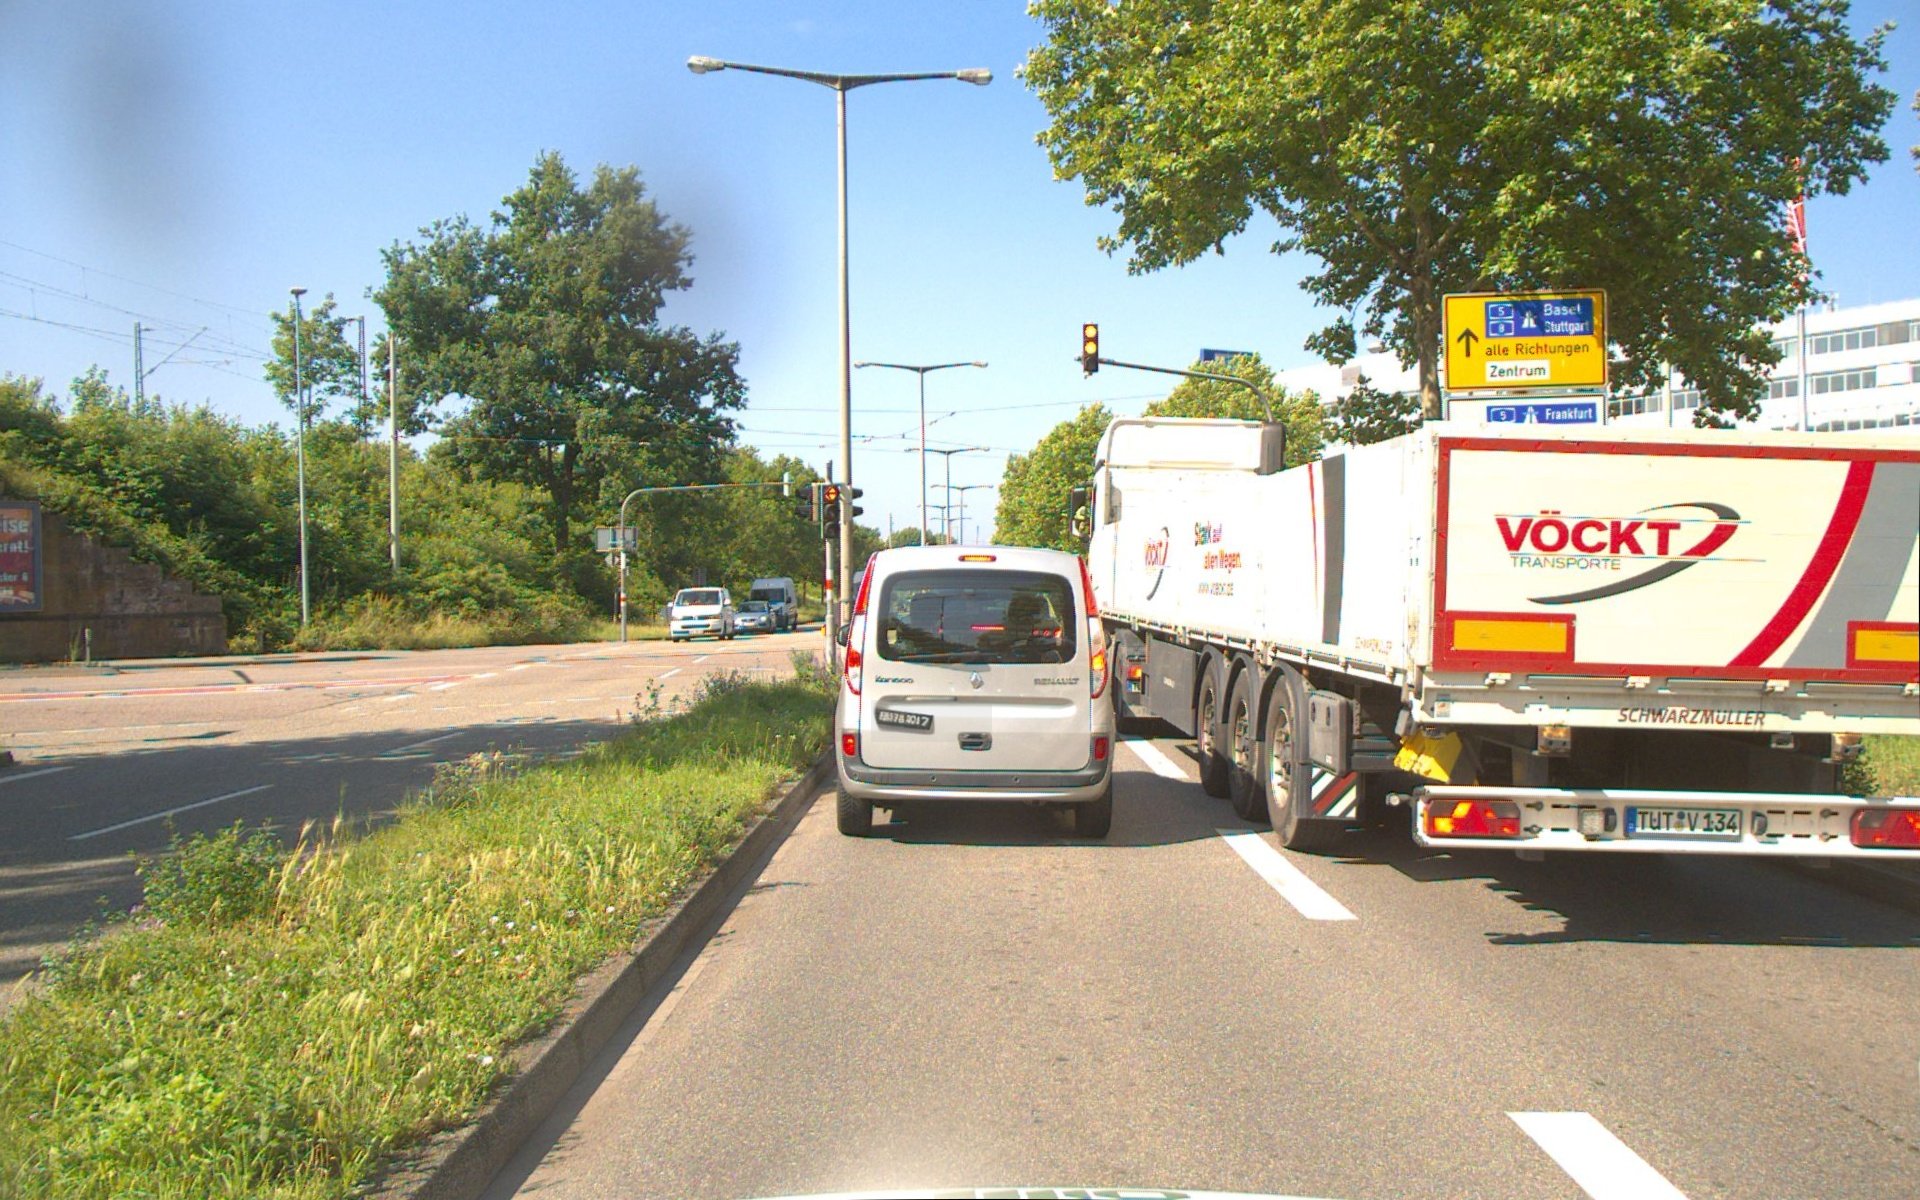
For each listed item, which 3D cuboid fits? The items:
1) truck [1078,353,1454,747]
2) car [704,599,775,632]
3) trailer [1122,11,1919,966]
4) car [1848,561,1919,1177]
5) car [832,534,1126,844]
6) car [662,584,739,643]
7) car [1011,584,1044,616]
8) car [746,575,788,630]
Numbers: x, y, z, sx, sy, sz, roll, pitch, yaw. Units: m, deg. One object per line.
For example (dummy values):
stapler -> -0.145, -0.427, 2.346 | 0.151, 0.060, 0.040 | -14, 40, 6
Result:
truck -> 3.254, -0.484, 19.862 | 3.009, 3.823, 7.474 | 0, 0, -1
car -> -9.858, 0.662, 73.793 | 1.888, 1.433, 4.190 | 0, 0, -27
trailer -> 3.317, -0.438, 12.730 | 2.954, 3.806, 12.239 | 0, 0, 0
car -> 3.062, 0.640, 2.487 | 1.627, 1.461, 3.520 | 0, 0, 1
car -> 0.095, 0.522, 11.636 | 1.713, 1.803, 3.949 | 0, 0, -1
car -> -9.257, 0.469, 59.351 | 1.953, 1.924, 4.986 | -3, 0, -1
car -> 4.449, -0.008, 109.962 | 1.953, 2.049, 3.999 | 0, 0, -1
car -> -9.699, 0.140, 83.249 | 2.019, 2.660, 5.861 | 0, 0, -6
